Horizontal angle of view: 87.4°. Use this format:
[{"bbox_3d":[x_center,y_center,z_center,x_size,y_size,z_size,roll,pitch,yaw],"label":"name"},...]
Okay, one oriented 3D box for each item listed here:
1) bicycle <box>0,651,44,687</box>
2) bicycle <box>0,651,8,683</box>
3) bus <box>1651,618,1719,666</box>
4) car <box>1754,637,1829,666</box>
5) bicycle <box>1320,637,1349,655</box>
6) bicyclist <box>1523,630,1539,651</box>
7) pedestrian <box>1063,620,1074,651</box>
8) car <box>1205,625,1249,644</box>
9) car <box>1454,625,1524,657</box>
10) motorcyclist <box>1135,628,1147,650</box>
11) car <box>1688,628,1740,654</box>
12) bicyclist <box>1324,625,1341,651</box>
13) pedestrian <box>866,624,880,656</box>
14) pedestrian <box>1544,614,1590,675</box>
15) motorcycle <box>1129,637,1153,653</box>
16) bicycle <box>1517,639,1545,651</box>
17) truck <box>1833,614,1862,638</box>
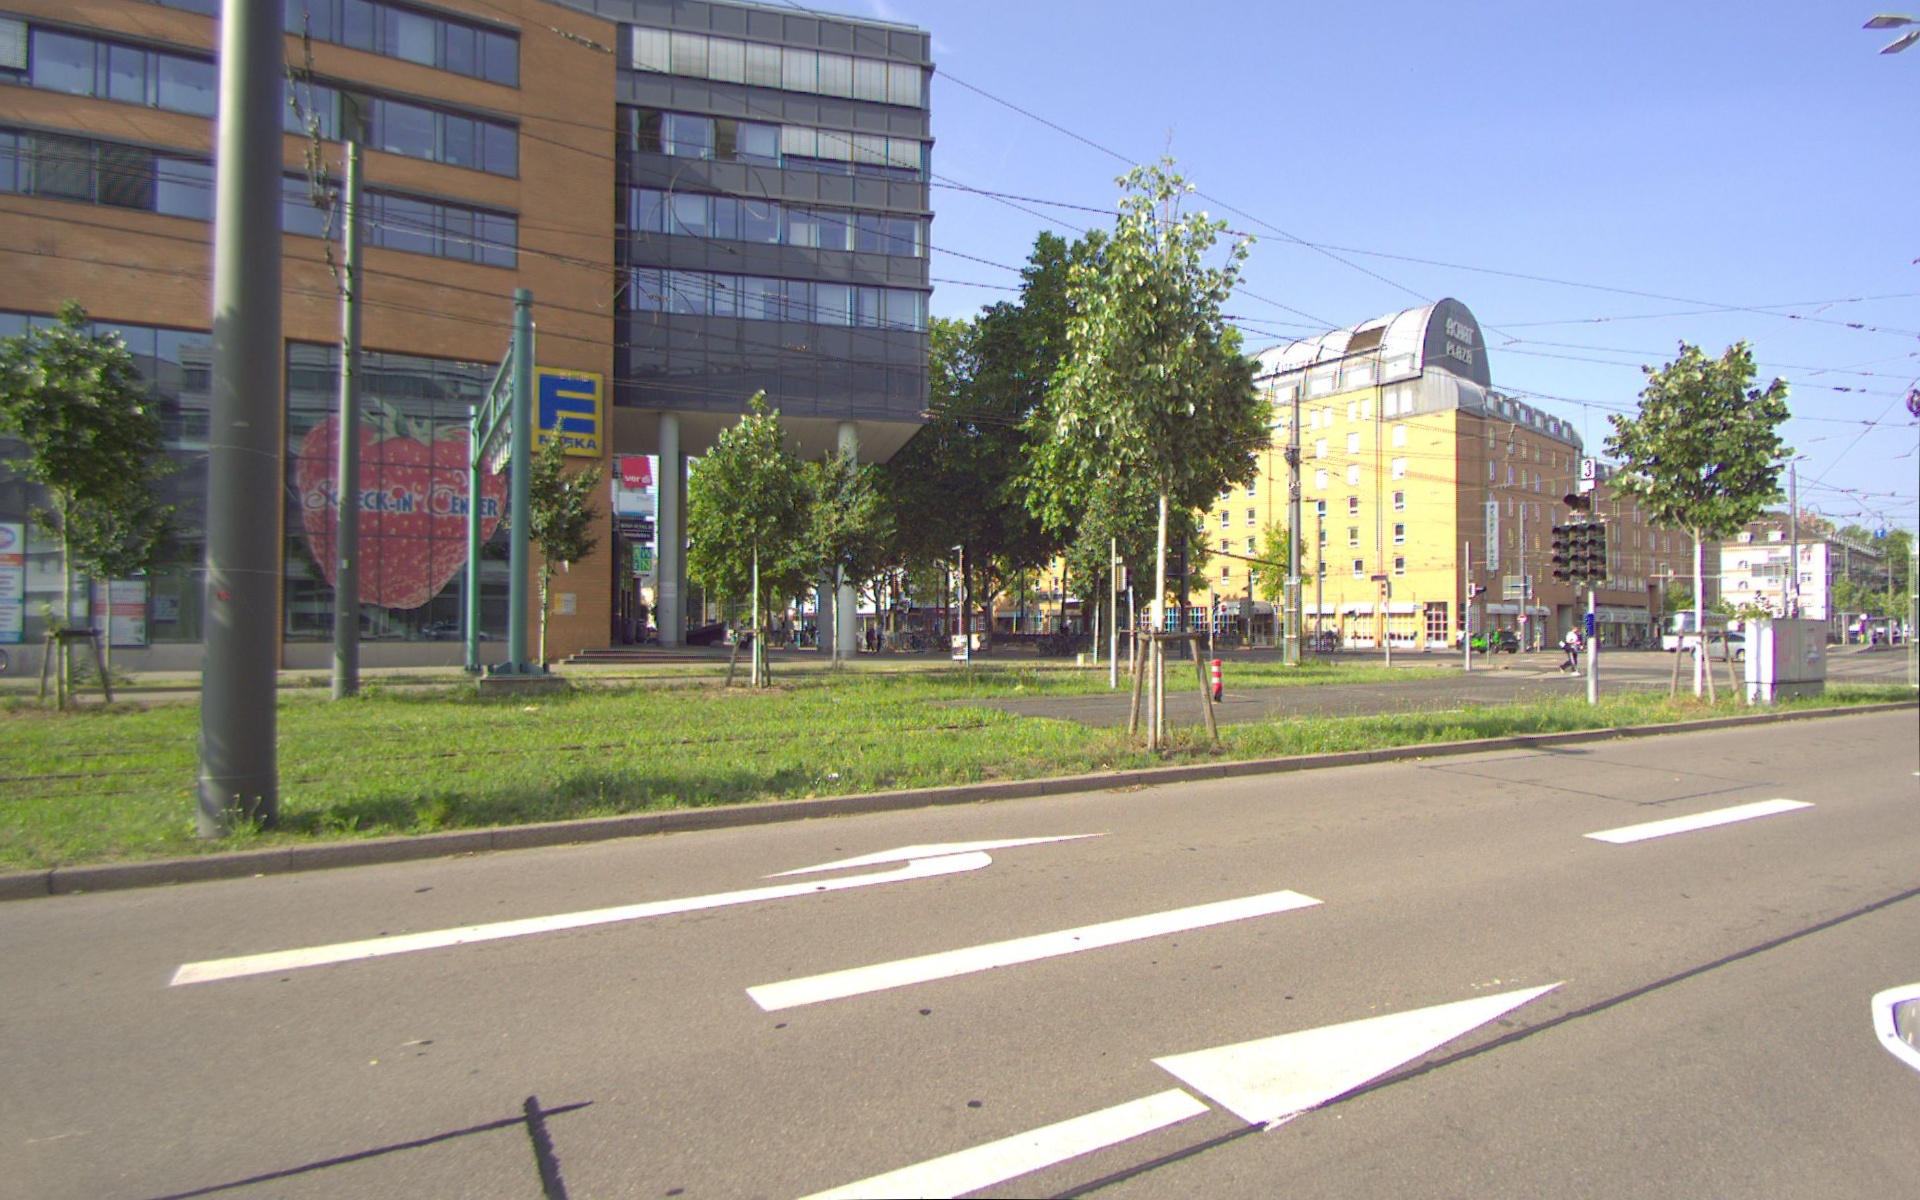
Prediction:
[{"bbox_3d":[-27.003,1.946,28.601,0.564,0.934,2.046,1,-2,-19],"label":"bicycle"},{"bbox_3d":[-27.671,1.917,28.315,0.375,0.934,2.046,1,-2,-19],"label":"bicycle"},{"bbox_3d":[63.990,3.758,88.516,12.134,3.972,2.720,4,-3,-44],"label":"bus"},{"bbox_3d":[46.420,2.856,56.137,1.668,1.512,3.606,0,-2,11],"label":"car"},{"bbox_3d":[26.552,3.265,71.227,2.258,1.222,0.546,3,-2,-28],"label":"bicycle"},{"bbox_3d":[46.293,3.272,81.466,0.976,1.717,0.666,-1,-3,45],"label":"bicyclist"},{"bbox_3d":[7.400,2.424,68.366,0.534,2.040,0.485,3,-3,-38],"label":"pedestrian"},{"bbox_3d":[24.187,3.121,91.113,1.849,1.645,3.589,1,-2,-34],"label":"car"},{"bbox_3d":[36.033,2.801,68.507,1.969,2.040,3.984,2,-2,-19],"label":"car"},{"bbox_3d":[11.266,2.438,62.545,0.414,1.339,0.527,3,-3,-38],"label":"motorcyclist"},{"bbox_3d":[51.043,2.771,68.085,1.955,1.657,4.410,0,-2,26],"label":"car"},{"bbox_3d":[26.394,2.703,71.152,0.955,1.769,0.662,2,-2,-27],"label":"bicyclist"},{"bbox_3d":[-4.348,2.001,50.177,0.651,1.563,0.617,0,-1,-12],"label":"pedestrian"},{"bbox_3d":[20.751,1.515,34.347,0.769,2.040,1.147,3,-3,-37],"label":"pedestrian"},{"bbox_3d":[11.272,2.800,62.511,0.281,1.008,1.677,3,-3,-37],"label":"motorcycle"},{"bbox_3d":[46.282,3.639,81.456,1.940,0.982,0.417,-1,-3,45],"label":"bicycle"},{"bbox_3d":[99.397,2.918,112.431,4.706,2.633,1.975,0,-1,-43],"label":"truck"}]
